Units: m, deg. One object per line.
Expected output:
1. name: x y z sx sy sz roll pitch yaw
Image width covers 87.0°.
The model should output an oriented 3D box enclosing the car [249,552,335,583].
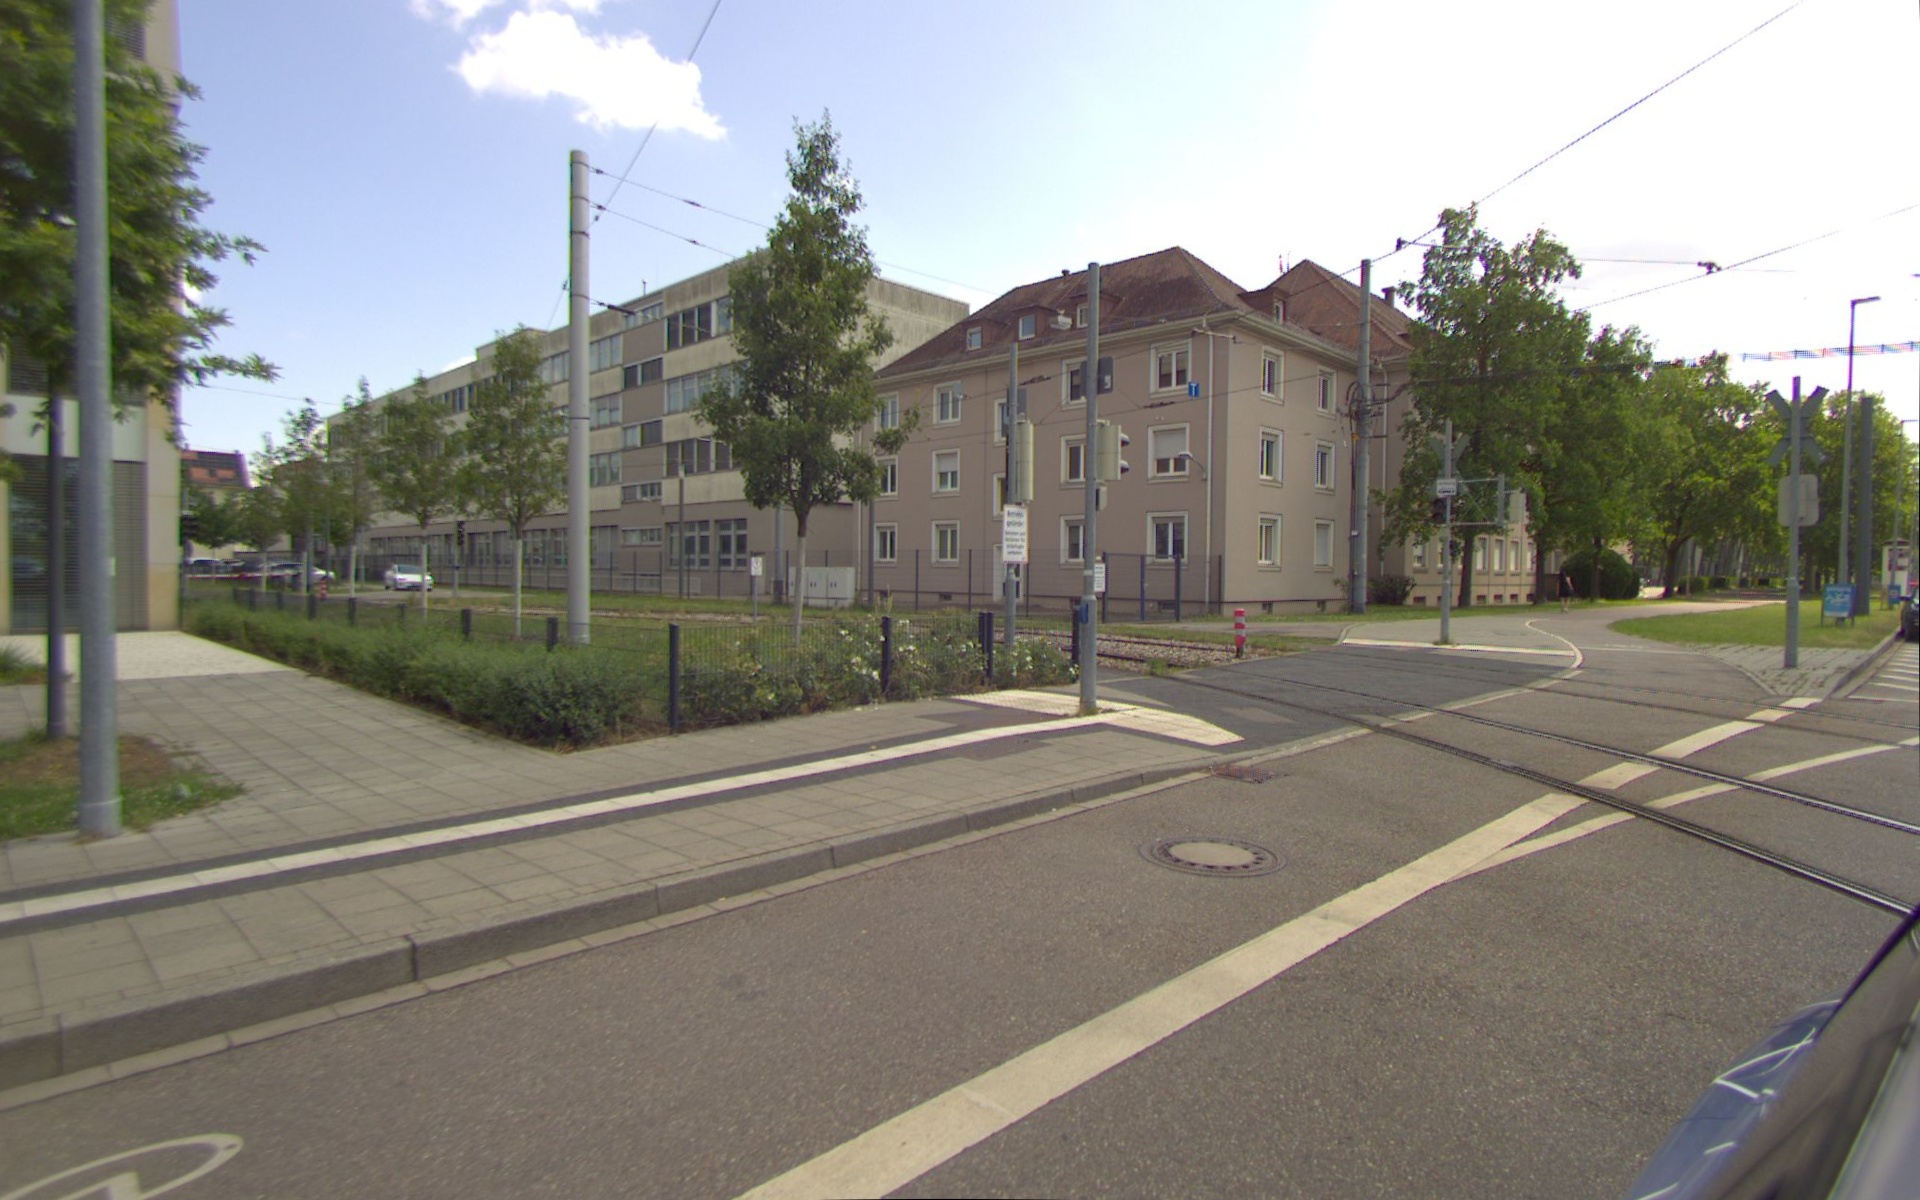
1. car: -39.400 -1.922 59.726 3.967 1.586 1.804 -5 4 -43

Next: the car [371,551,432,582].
1. car: -30.956 -1.837 56.046 4.019 1.586 1.781 1 4 44

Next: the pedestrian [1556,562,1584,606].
1. pedestrian: 23.147 -0.625 38.395 0.612 1.626 0.625 0 4 1

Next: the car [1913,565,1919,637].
1. car: 24.929 0.014 25.078 1.779 1.558 4.355 3 6 42
